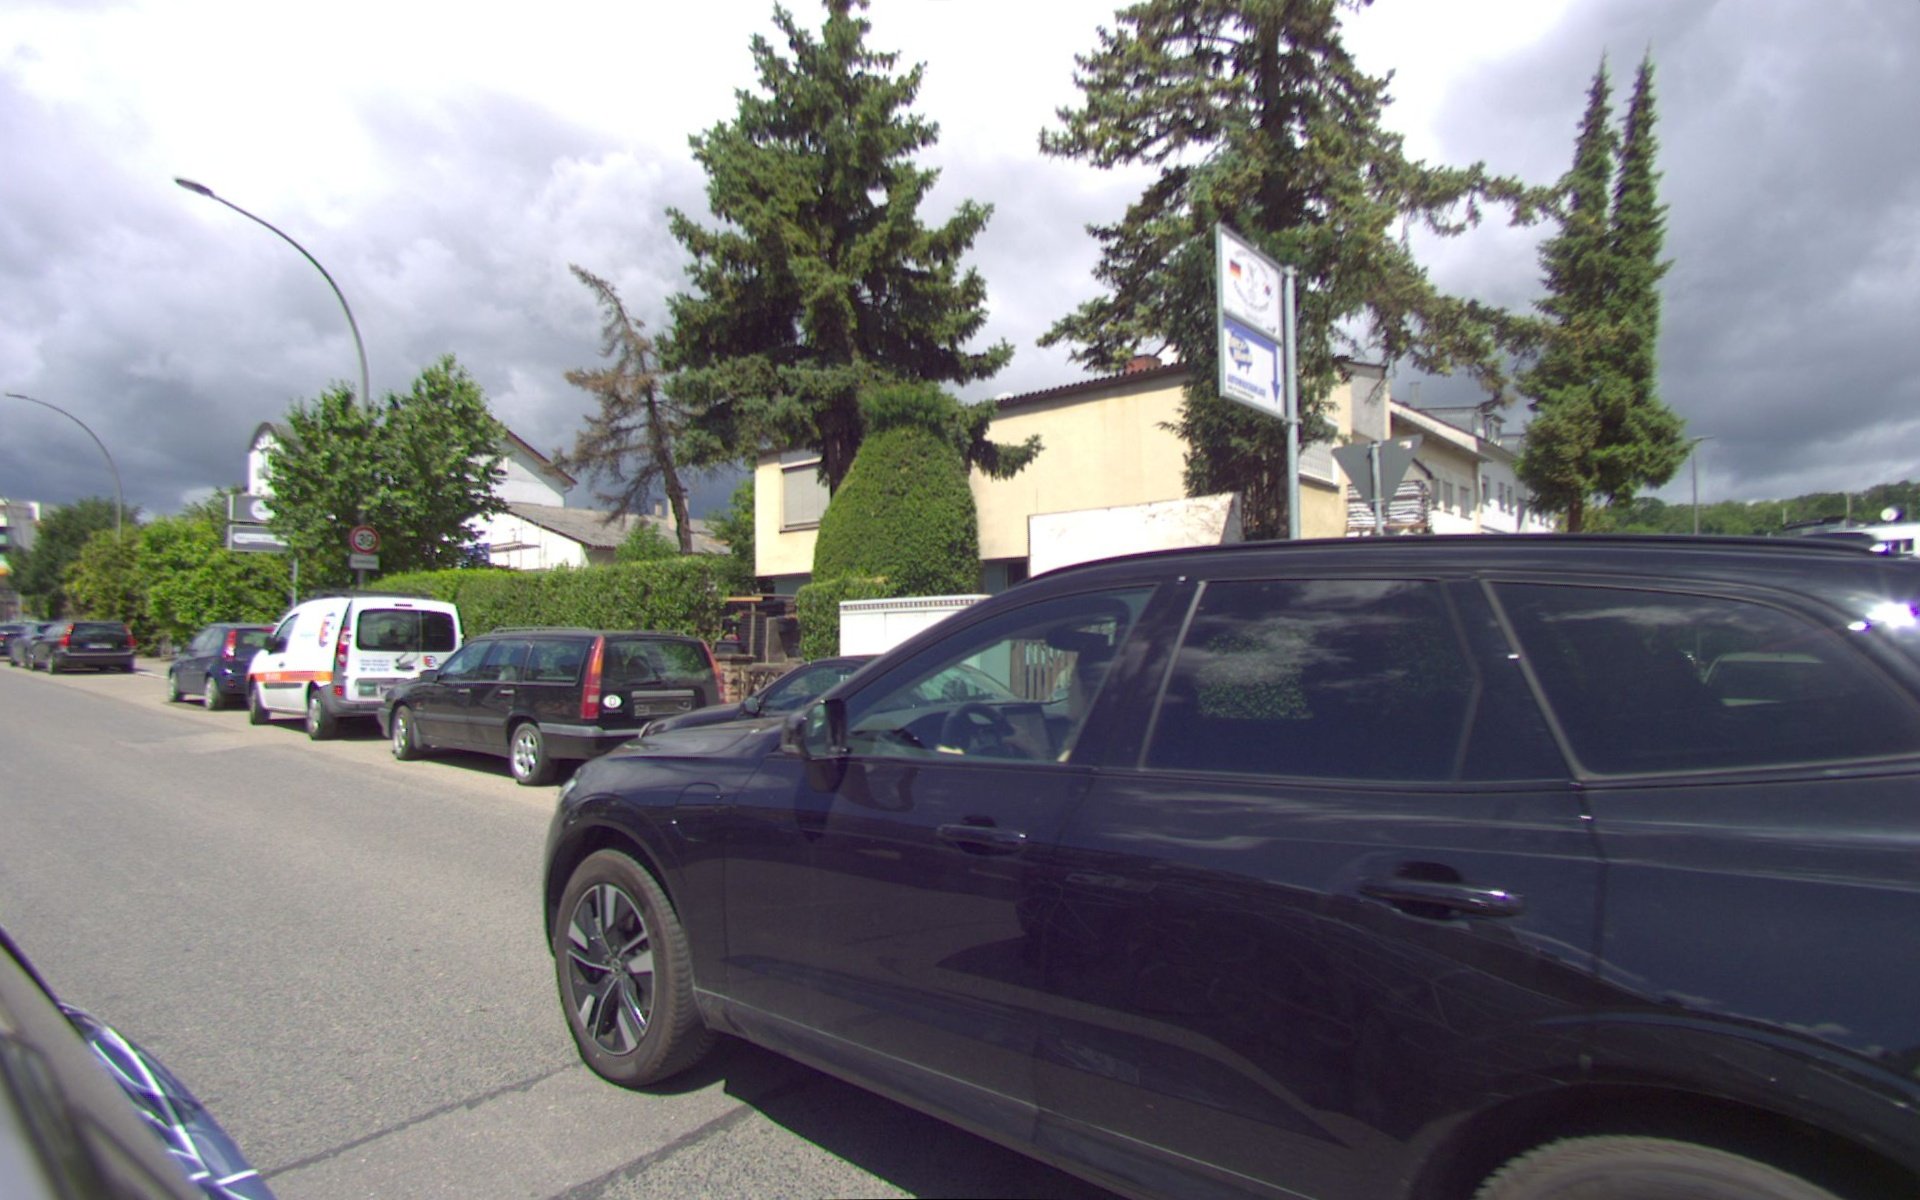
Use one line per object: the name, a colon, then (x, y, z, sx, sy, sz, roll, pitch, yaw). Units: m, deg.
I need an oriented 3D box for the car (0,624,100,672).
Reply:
car: (-28.707, 1.516, 31.851, 4.195, 1.443, 1.702, -2, -4, 39)

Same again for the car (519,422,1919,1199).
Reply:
car: (0.855, 0.674, 2.711, 4.408, 1.628, 1.973, -2, -4, 40)

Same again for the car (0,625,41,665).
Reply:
car: (-35.459, 1.667, 37.385, 4.335, 1.425, 1.645, -2, -4, 41)

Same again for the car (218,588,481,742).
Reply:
car: (-8.654, 0.897, 14.193, 4.351, 1.852, 1.726, -2, -6, 40)

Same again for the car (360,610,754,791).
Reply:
car: (-4.333, 0.951, 10.511, 4.640, 1.483, 1.726, -2, -6, 40)

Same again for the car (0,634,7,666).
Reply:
car: (-45.493, 2.291, 46.729, 4.335, 1.446, 1.645, -2, -5, 41)

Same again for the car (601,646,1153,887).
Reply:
car: (-0.789, 1.045, 7.564, 4.112, 1.314, 1.614, -2, -6, 39)

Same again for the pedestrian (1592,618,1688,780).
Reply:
pedestrian: (7.649, 1.088, 11.389, 0.621, 1.747, 0.686, 3, -2, -29)

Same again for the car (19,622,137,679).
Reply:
car: (-24.951, 1.418, 28.574, 4.730, 1.504, 1.702, -2, -4, 39)

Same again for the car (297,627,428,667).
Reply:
car: (-23.264, 1.865, 39.535, 3.936, 1.398, 1.896, 2, -4, -9)

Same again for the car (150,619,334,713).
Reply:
car: (-12.906, 1.167, 18.122, 3.996, 1.498, 1.623, -2, -6, 40)

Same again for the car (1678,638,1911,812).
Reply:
car: (8.716, 1.204, 10.538, 1.613, 1.489, 3.515, -2, -5, 42)
